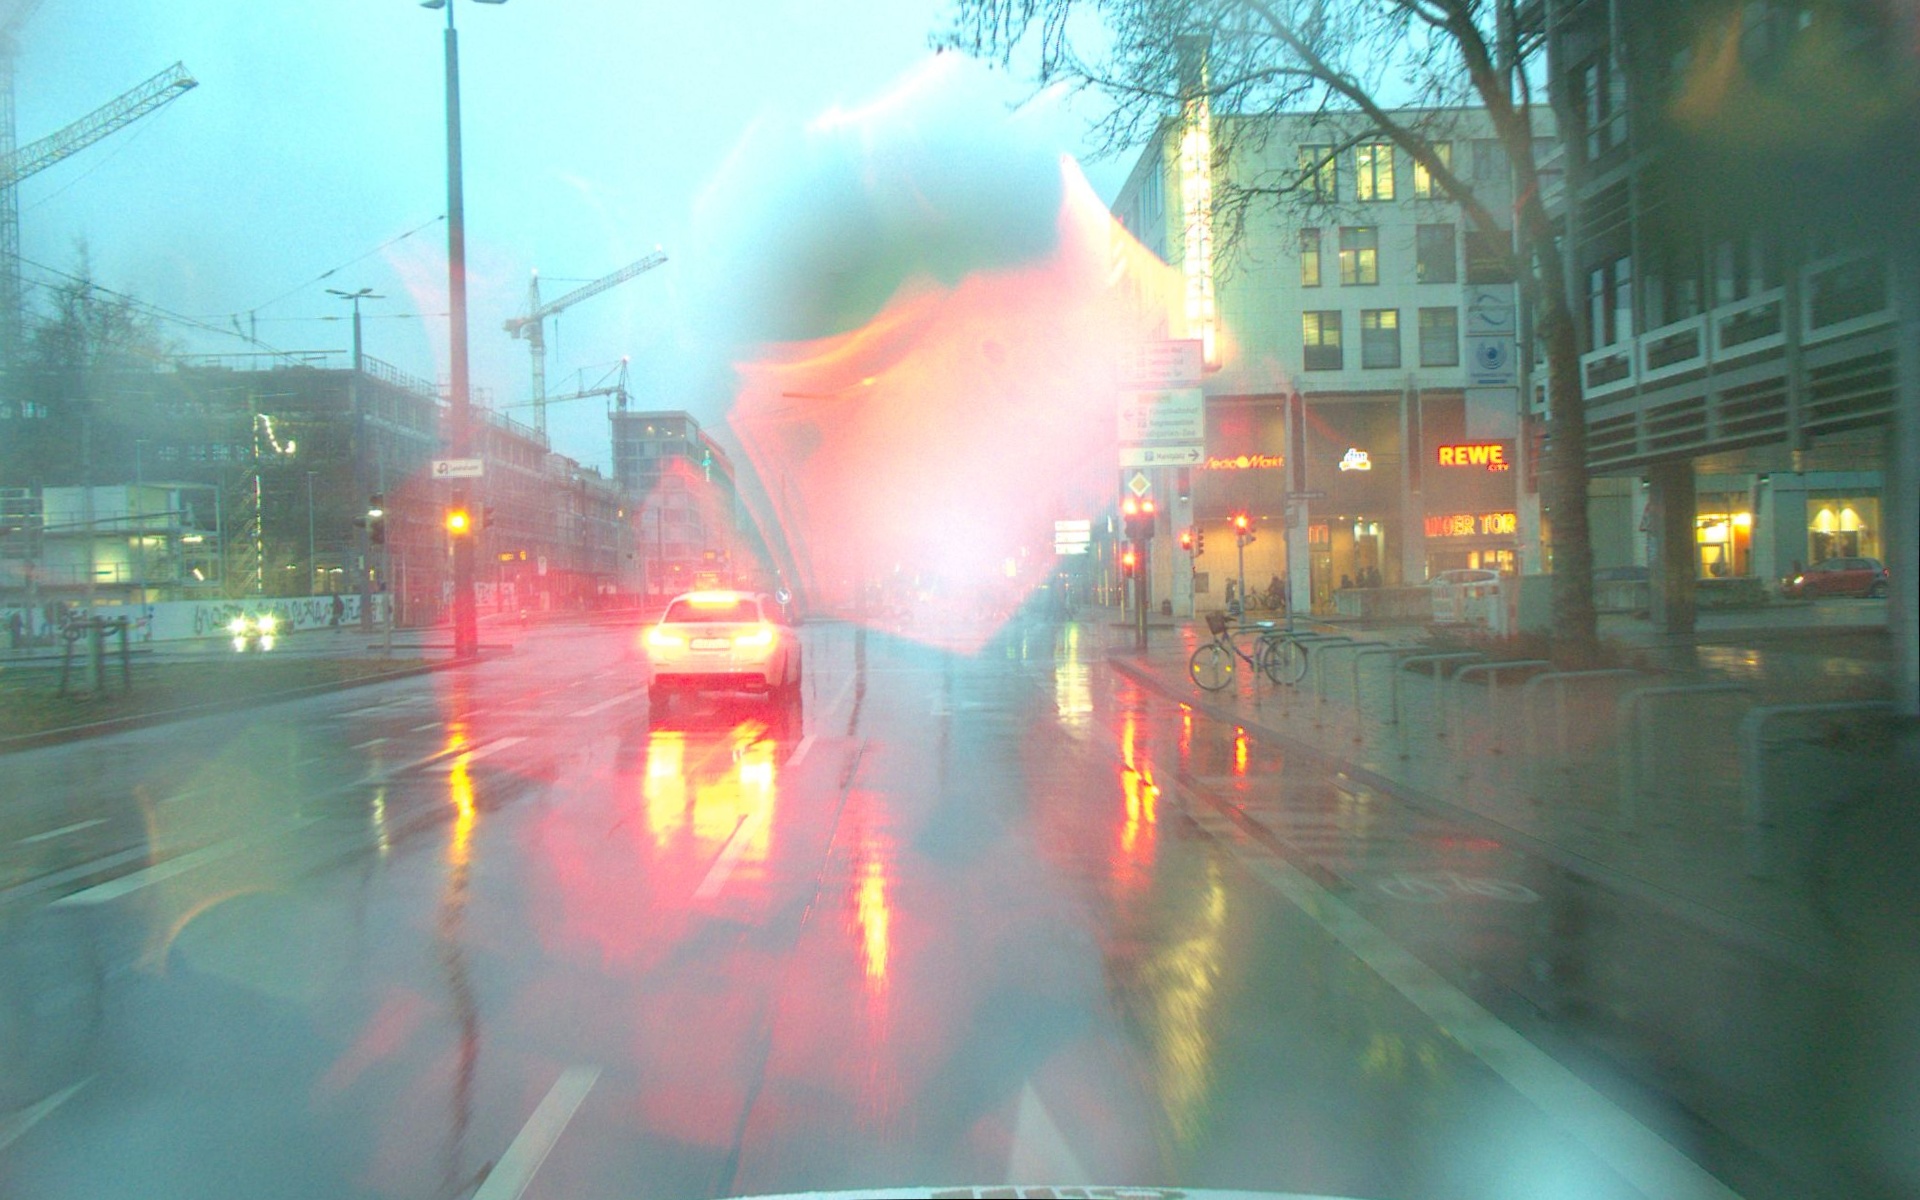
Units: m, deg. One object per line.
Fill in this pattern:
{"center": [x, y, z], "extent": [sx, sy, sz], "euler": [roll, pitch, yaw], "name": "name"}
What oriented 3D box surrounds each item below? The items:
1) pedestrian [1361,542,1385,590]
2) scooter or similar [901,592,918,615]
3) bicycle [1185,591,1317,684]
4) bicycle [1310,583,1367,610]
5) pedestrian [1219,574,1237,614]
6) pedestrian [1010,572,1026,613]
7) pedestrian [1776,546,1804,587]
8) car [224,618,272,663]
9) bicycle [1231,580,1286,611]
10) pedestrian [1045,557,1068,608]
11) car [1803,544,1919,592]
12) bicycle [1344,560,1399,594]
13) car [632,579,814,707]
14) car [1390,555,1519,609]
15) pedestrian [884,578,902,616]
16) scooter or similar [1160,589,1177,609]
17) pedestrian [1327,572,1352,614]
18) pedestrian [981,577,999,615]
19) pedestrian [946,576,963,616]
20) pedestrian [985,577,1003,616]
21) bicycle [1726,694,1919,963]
{"center": [14.498, -1.197, 58.018], "extent": [0.764, 1.623, 0.613], "euler": [-2, 0, 16], "name": "pedestrian"}
{"center": [-2.270, 0.159, 73.924], "extent": [0.726, 1.010, 0.400], "euler": [-2, 0, -4], "name": "scooter or similar"}
{"center": [4.093, 0.518, 23.271], "extent": [1.716, 1.168, 0.435], "euler": [-4, 0, -4], "name": "bicycle"}
{"center": [14.751, -0.127, 64.413], "extent": [2.084, 1.009, 0.541], "euler": [-1, 0, 1], "name": "bicycle"}
{"center": [12.188, -0.268, 75.207], "extent": [0.688, 1.790, 0.652], "euler": [-2, 0, 0], "name": "pedestrian"}
{"center": [2.570, -0.317, 73.270], "extent": [0.607, 1.776, 0.612], "euler": [-2, 0, -5], "name": "pedestrian"}
{"center": [34.363, -1.393, 68.463], "extent": [0.778, 1.660, 0.709], "euler": [-1, 0, 0], "name": "pedestrian"}
{"center": [-35.257, 1.992, 81.978], "extent": [1.729, 2.048, 3.980], "euler": [-2, 1, -18], "name": "car"}
{"center": [13.826, -0.219, 76.577], "extent": [2.378, 1.352, 0.634], "euler": [-2, 0, -5], "name": "bicycle"}
{"center": [4.139, -0.743, 70.892], "extent": [0.681, 2.123, 0.604], "euler": [-2, 0, -40], "name": "pedestrian"}
{"center": [33.095, -1.165, 60.617], "extent": [3.497, 1.610, 1.676], "euler": [-2, 0, -2], "name": "car"}
{"center": [14.437, -0.796, 58.049], "extent": [1.806, 1.112, 0.618], "euler": [-2, 0, 16], "name": "bicycle"}
{"center": [-3.226, 0.524, 23.468], "extent": [1.871, 1.547, 4.923], "euler": [-2, 1, -1], "name": "car"}
{"center": [18.104, -0.661, 60.651], "extent": [4.213, 1.792, 1.708], "euler": [-2, 1, 3], "name": "car"}
{"center": [-3.011, -0.129, 73.868], "extent": [0.726, 1.696, 0.400], "euler": [-2, 0, -4], "name": "pedestrian"}
{"center": [9.806, -0.046, 77.761], "extent": [0.725, 0.932, 0.400], "euler": [-2, 0, 2], "name": "scooter or similar"}
{"center": [14.778, -0.260, 64.431], "extent": [0.798, 1.597, 0.536], "euler": [-2, 0, 1], "name": "pedestrian"}
{"center": [1.305, -0.176, 72.271], "extent": [0.692, 1.647, 0.680], "euler": [-2, 0, 2], "name": "pedestrian"}
{"center": [-0.240, -0.189, 74.376], "extent": [0.688, 1.790, 0.667], "euler": [-2, 0, 0], "name": "pedestrian"}
{"center": [1.446, -0.165, 70.881], "extent": [0.692, 1.647, 0.613], "euler": [-2, 0, -2], "name": "pedestrian"}
{"center": [4.307, 0.918, 7.076], "extent": [1.752, 0.991, 0.617], "euler": [-4, 0, -4], "name": "bicycle"}
